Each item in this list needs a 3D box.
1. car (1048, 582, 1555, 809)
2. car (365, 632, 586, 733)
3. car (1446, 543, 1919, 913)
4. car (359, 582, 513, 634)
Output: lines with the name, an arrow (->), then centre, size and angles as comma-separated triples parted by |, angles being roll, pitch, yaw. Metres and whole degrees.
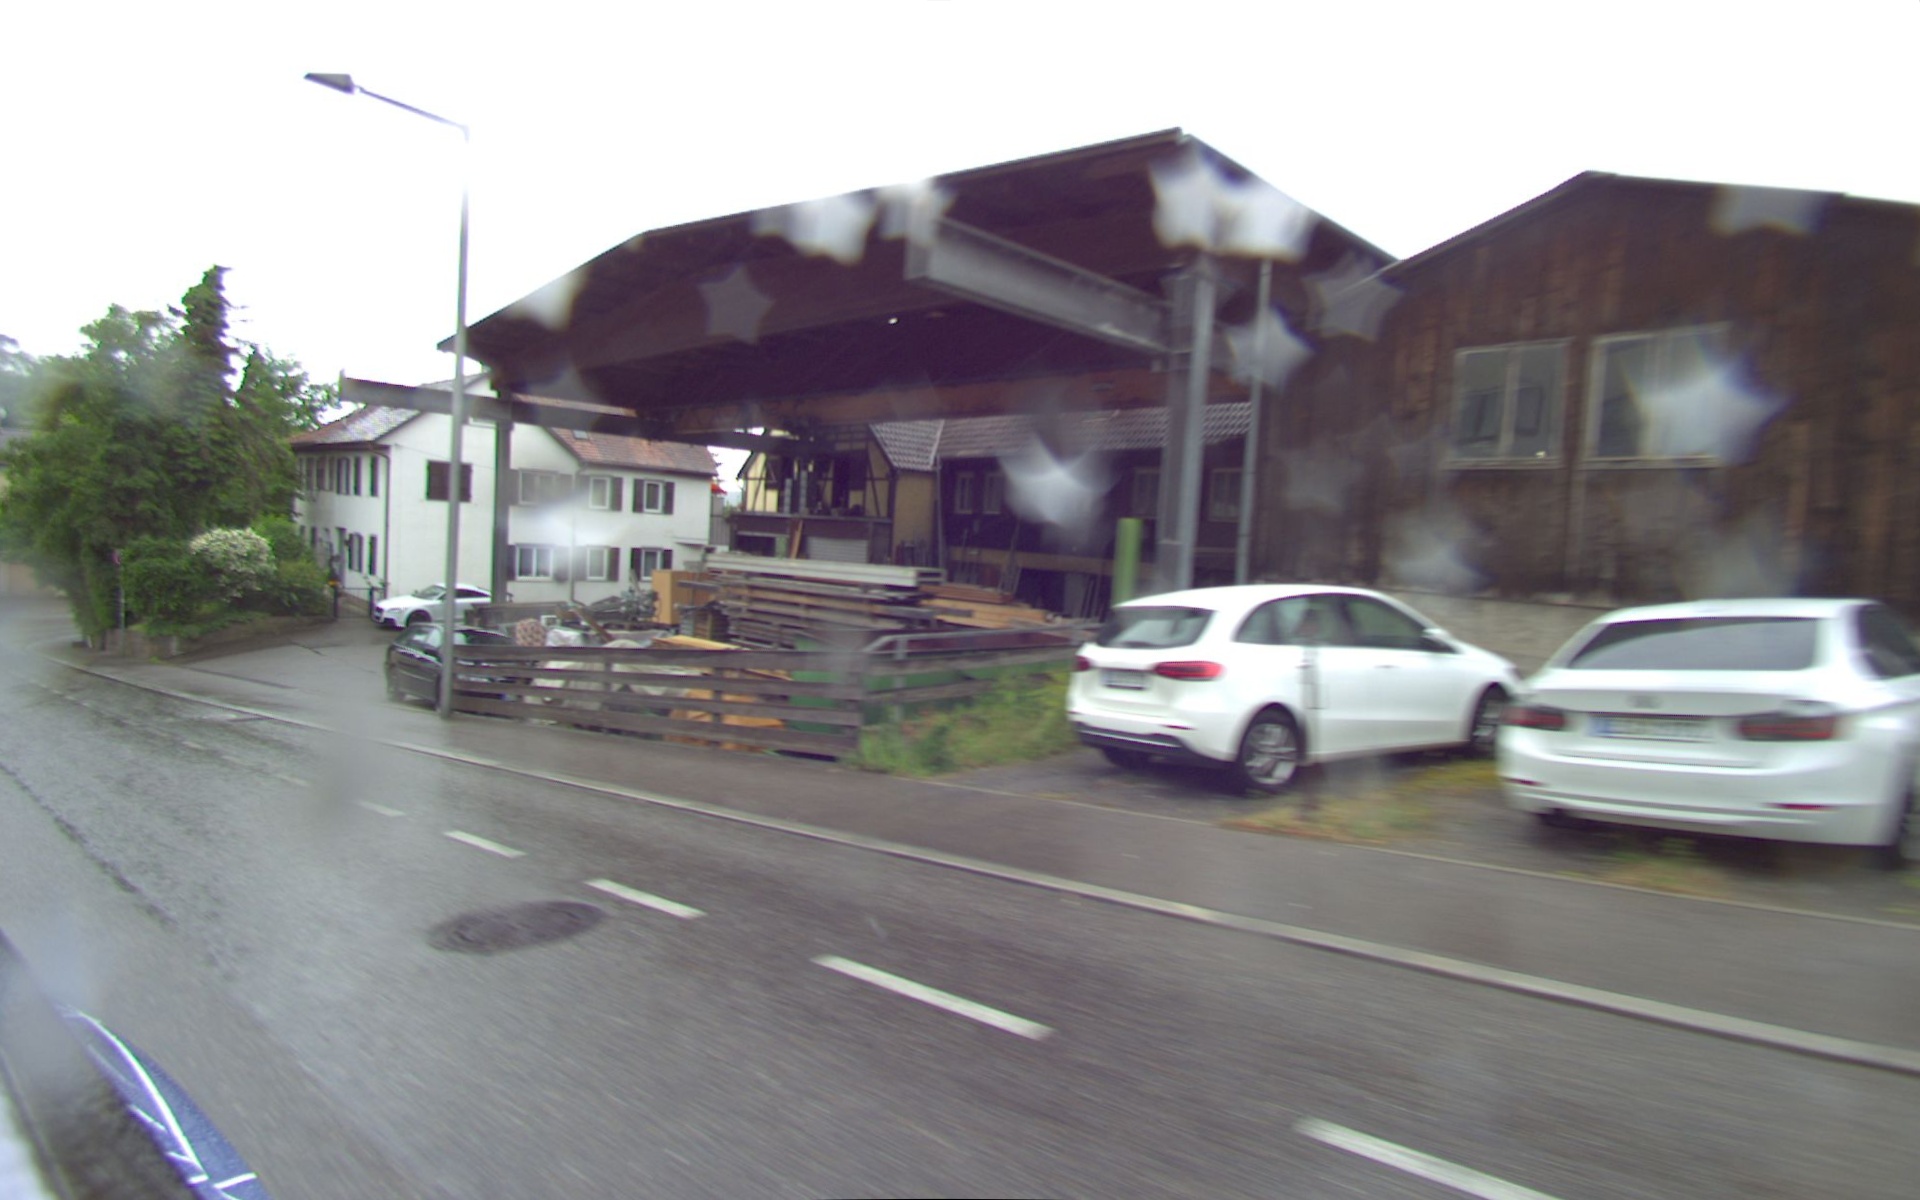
car -> 2.914, 0.664, 8.556 | 3.931, 1.516, 1.906 | 0, -1, -29
car -> -8.235, 1.292, 17.027 | 4.446, 1.452, 1.873 | -1, -3, 44
car -> 5.095, 0.557, 6.252 | 4.437, 1.516, 1.905 | 1, -1, -36
car -> -16.593, 0.261, 32.176 | 1.804, 1.519, 3.943 | 2, 1, 43
